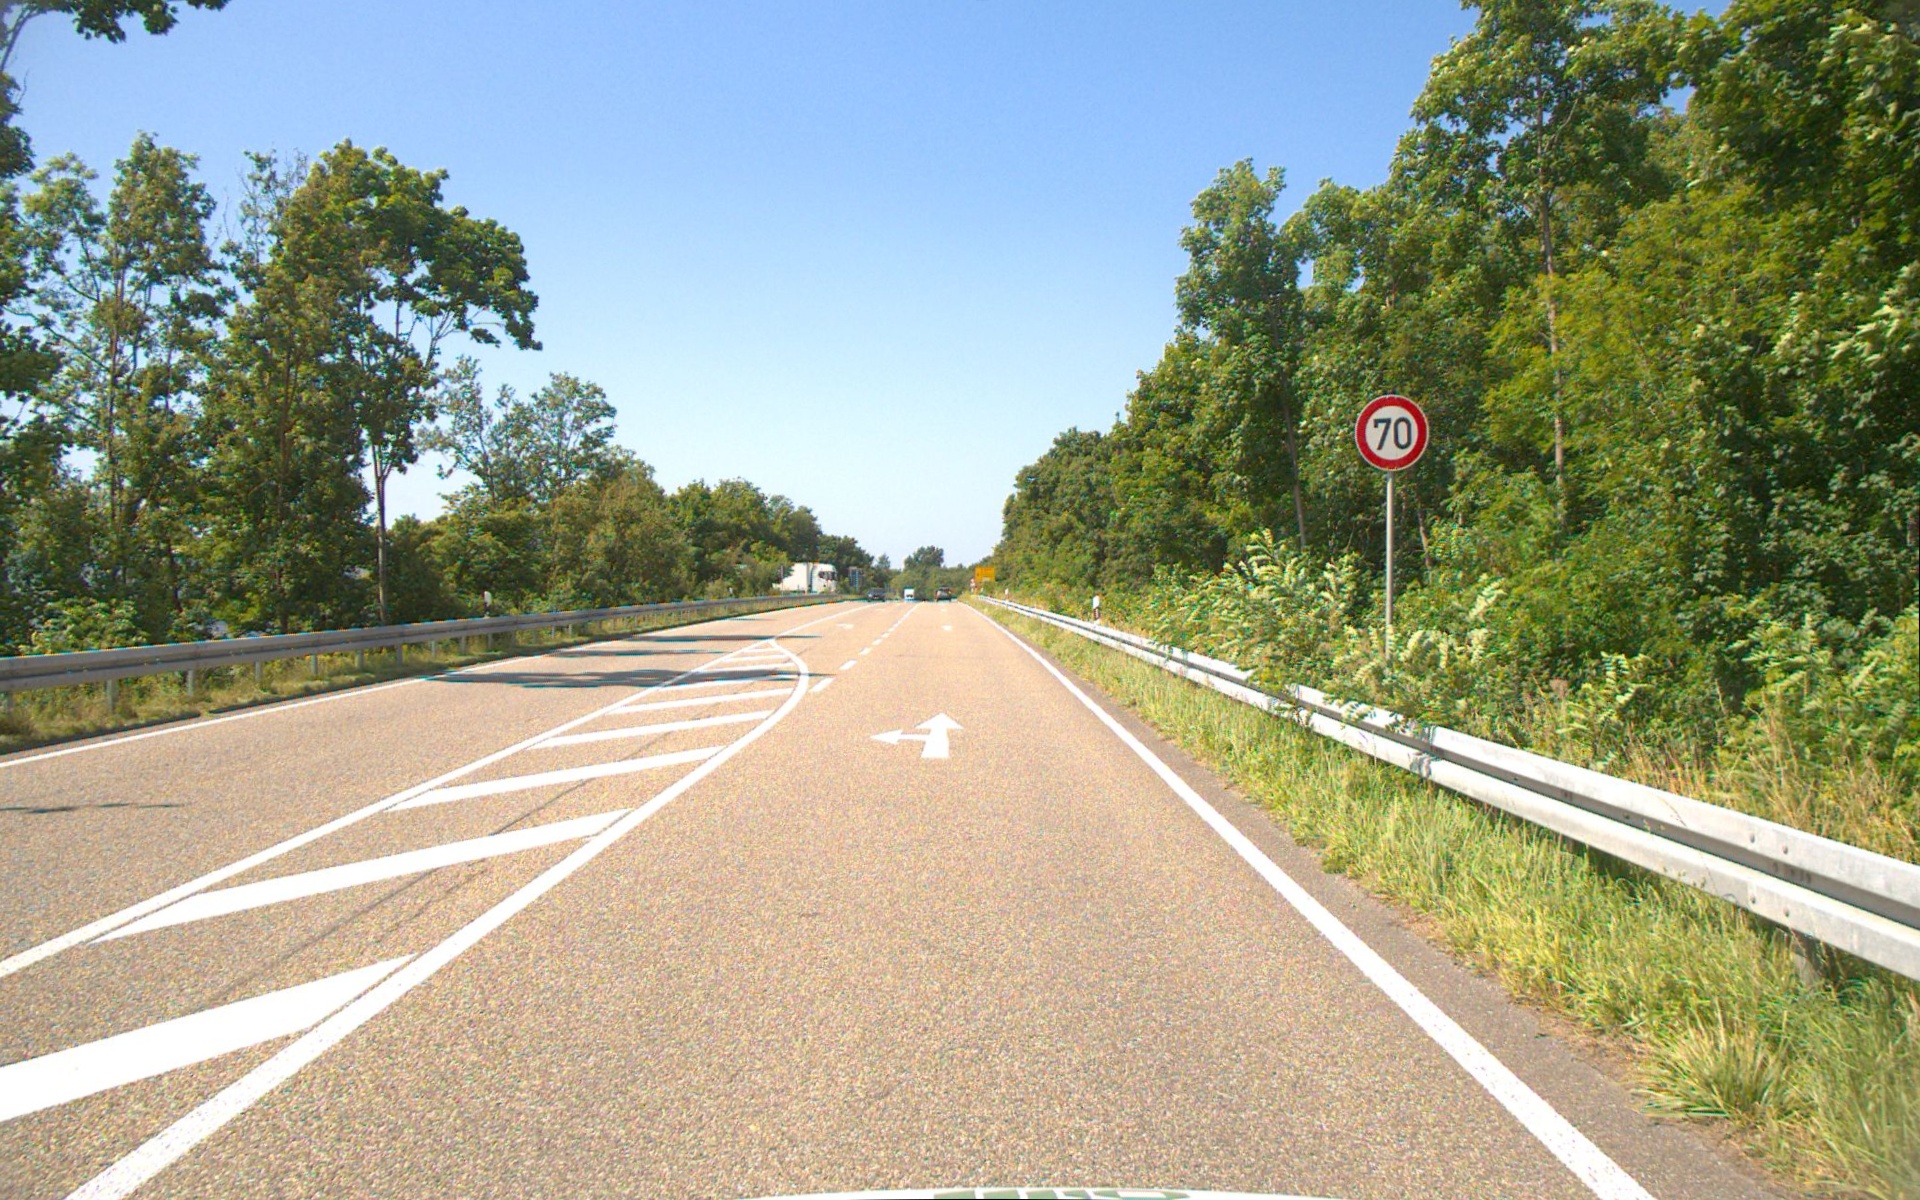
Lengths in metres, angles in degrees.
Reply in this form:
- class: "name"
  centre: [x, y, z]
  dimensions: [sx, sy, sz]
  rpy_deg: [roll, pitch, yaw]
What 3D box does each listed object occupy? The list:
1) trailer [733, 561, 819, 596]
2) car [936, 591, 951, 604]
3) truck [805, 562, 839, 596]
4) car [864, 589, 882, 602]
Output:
- class: "trailer"
  centre: [-19.697, -2.272, 176.986]
  dimensions: [8.914, 3.641, 2.000]
  rpy_deg: [0, 0, 1]
- class: "car"
  centre: [-1.897, -0.292, 189.028]
  dimensions: [1.706, 1.496, 3.692]
  rpy_deg: [0, 1, -1]
- class: "truck"
  centre: [-14.791, -2.236, 176.913]
  dimensions: [3.394, 3.599, 2.000]
  rpy_deg: [0, 0, 1]
- class: "car"
  centre: [-9.165, -0.455, 173.772]
  dimensions: [1.695, 1.289, 3.904]
  rpy_deg: [0, 1, -1]
